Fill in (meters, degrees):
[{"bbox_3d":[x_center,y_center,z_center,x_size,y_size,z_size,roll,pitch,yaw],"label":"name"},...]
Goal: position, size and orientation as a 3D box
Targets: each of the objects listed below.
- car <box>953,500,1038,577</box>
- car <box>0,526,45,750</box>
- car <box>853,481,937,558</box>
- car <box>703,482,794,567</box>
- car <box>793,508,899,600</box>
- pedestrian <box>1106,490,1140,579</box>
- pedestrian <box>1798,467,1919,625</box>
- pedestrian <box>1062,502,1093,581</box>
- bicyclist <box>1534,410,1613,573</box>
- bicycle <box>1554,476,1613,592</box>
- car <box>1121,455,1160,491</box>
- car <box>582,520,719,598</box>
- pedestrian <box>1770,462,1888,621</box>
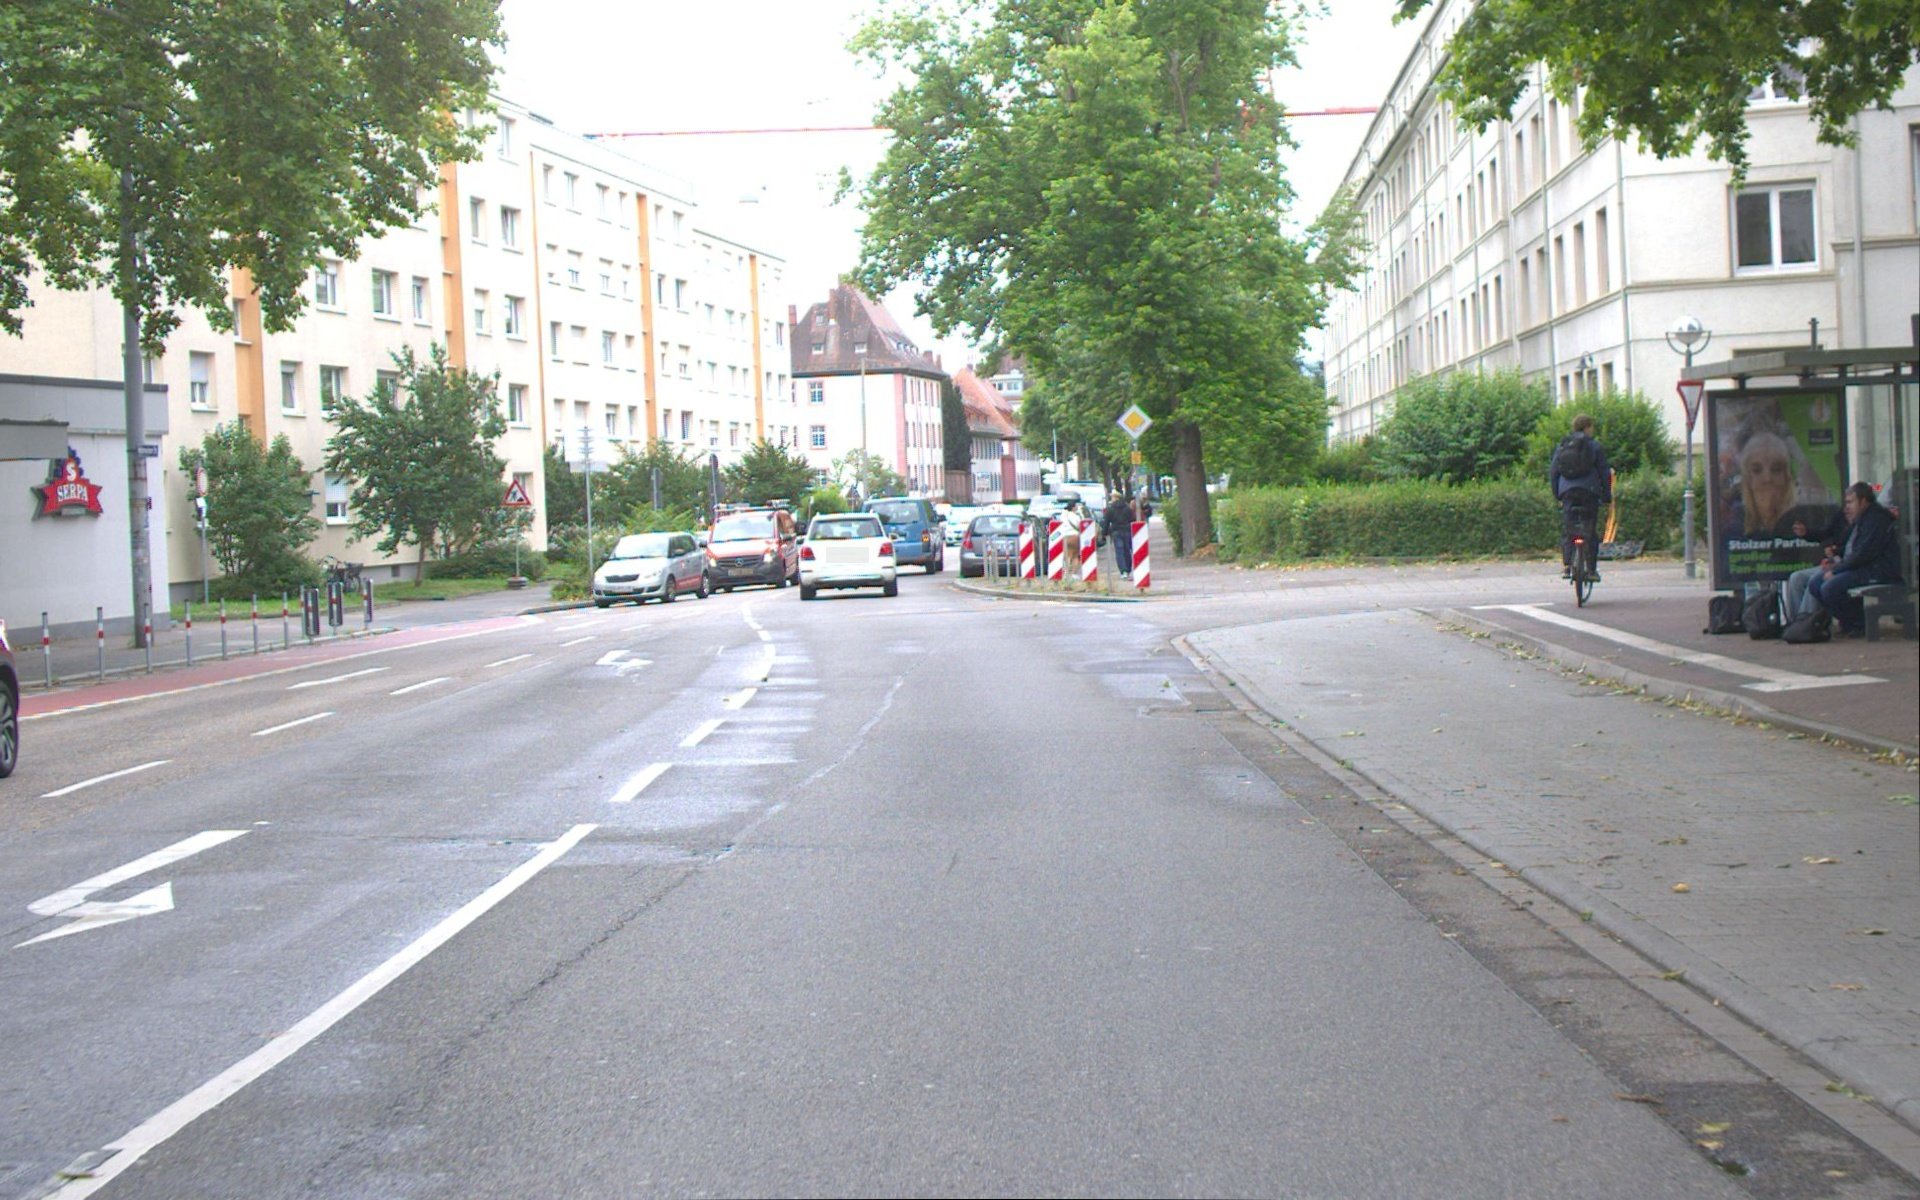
[{"bbox_3d":[0.783,-1.402,77.718,1.815,1.586,4.000,-3,2,0],"label":"car"},{"bbox_3d":[-7.215,0.332,21.381,1.853,1.447,4.168,-2,2,0],"label":"car"},{"bbox_3d":[-1.654,-2.057,87.147,1.993,1.842,4.001,-2,2,-1],"label":"car"},{"bbox_3d":[-4.987,-1.806,81.484,1.767,1.905,4.000,-2,2,1],"label":"car"},{"bbox_3d":[-2.153,-0.905,65.649,1.815,1.586,4.000,-3,2,0],"label":"car"},{"bbox_3d":[3.149,-1.265,66.358,0.550,1.679,0.570,-3,1,-1],"label":"pedestrian"},{"bbox_3d":[7.764,-0.470,29.647,0.853,1.310,0.763,-2,2,0],"label":"pedestrian"},{"bbox_3d":[2.268,-1.137,66.526,0.515,1.490,0.511,-3,1,-1],"label":"pedestrian"},{"bbox_3d":[6.797,-1.200,38.092,0.760,1.752,0.820,-2,2,8],"label":"bicyclist"},{"bbox_3d":[6.893,-0.742,38.052,0.417,1.238,1.927,-2,2,5],"label":"bicycle"},{"bbox_3d":[10.849,-7.652,207.256,1.993,2.007,4.000,-2,1,-1],"label":"car"},{"bbox_3d":[-6.551,-0.893,73.138,1.768,1.481,3.998,-2,2,11],"label":"car"},{"bbox_3d":[7.724,-0.523,30.581,0.817,1.367,0.763,-2,2,0],"label":"pedestrian"}]
